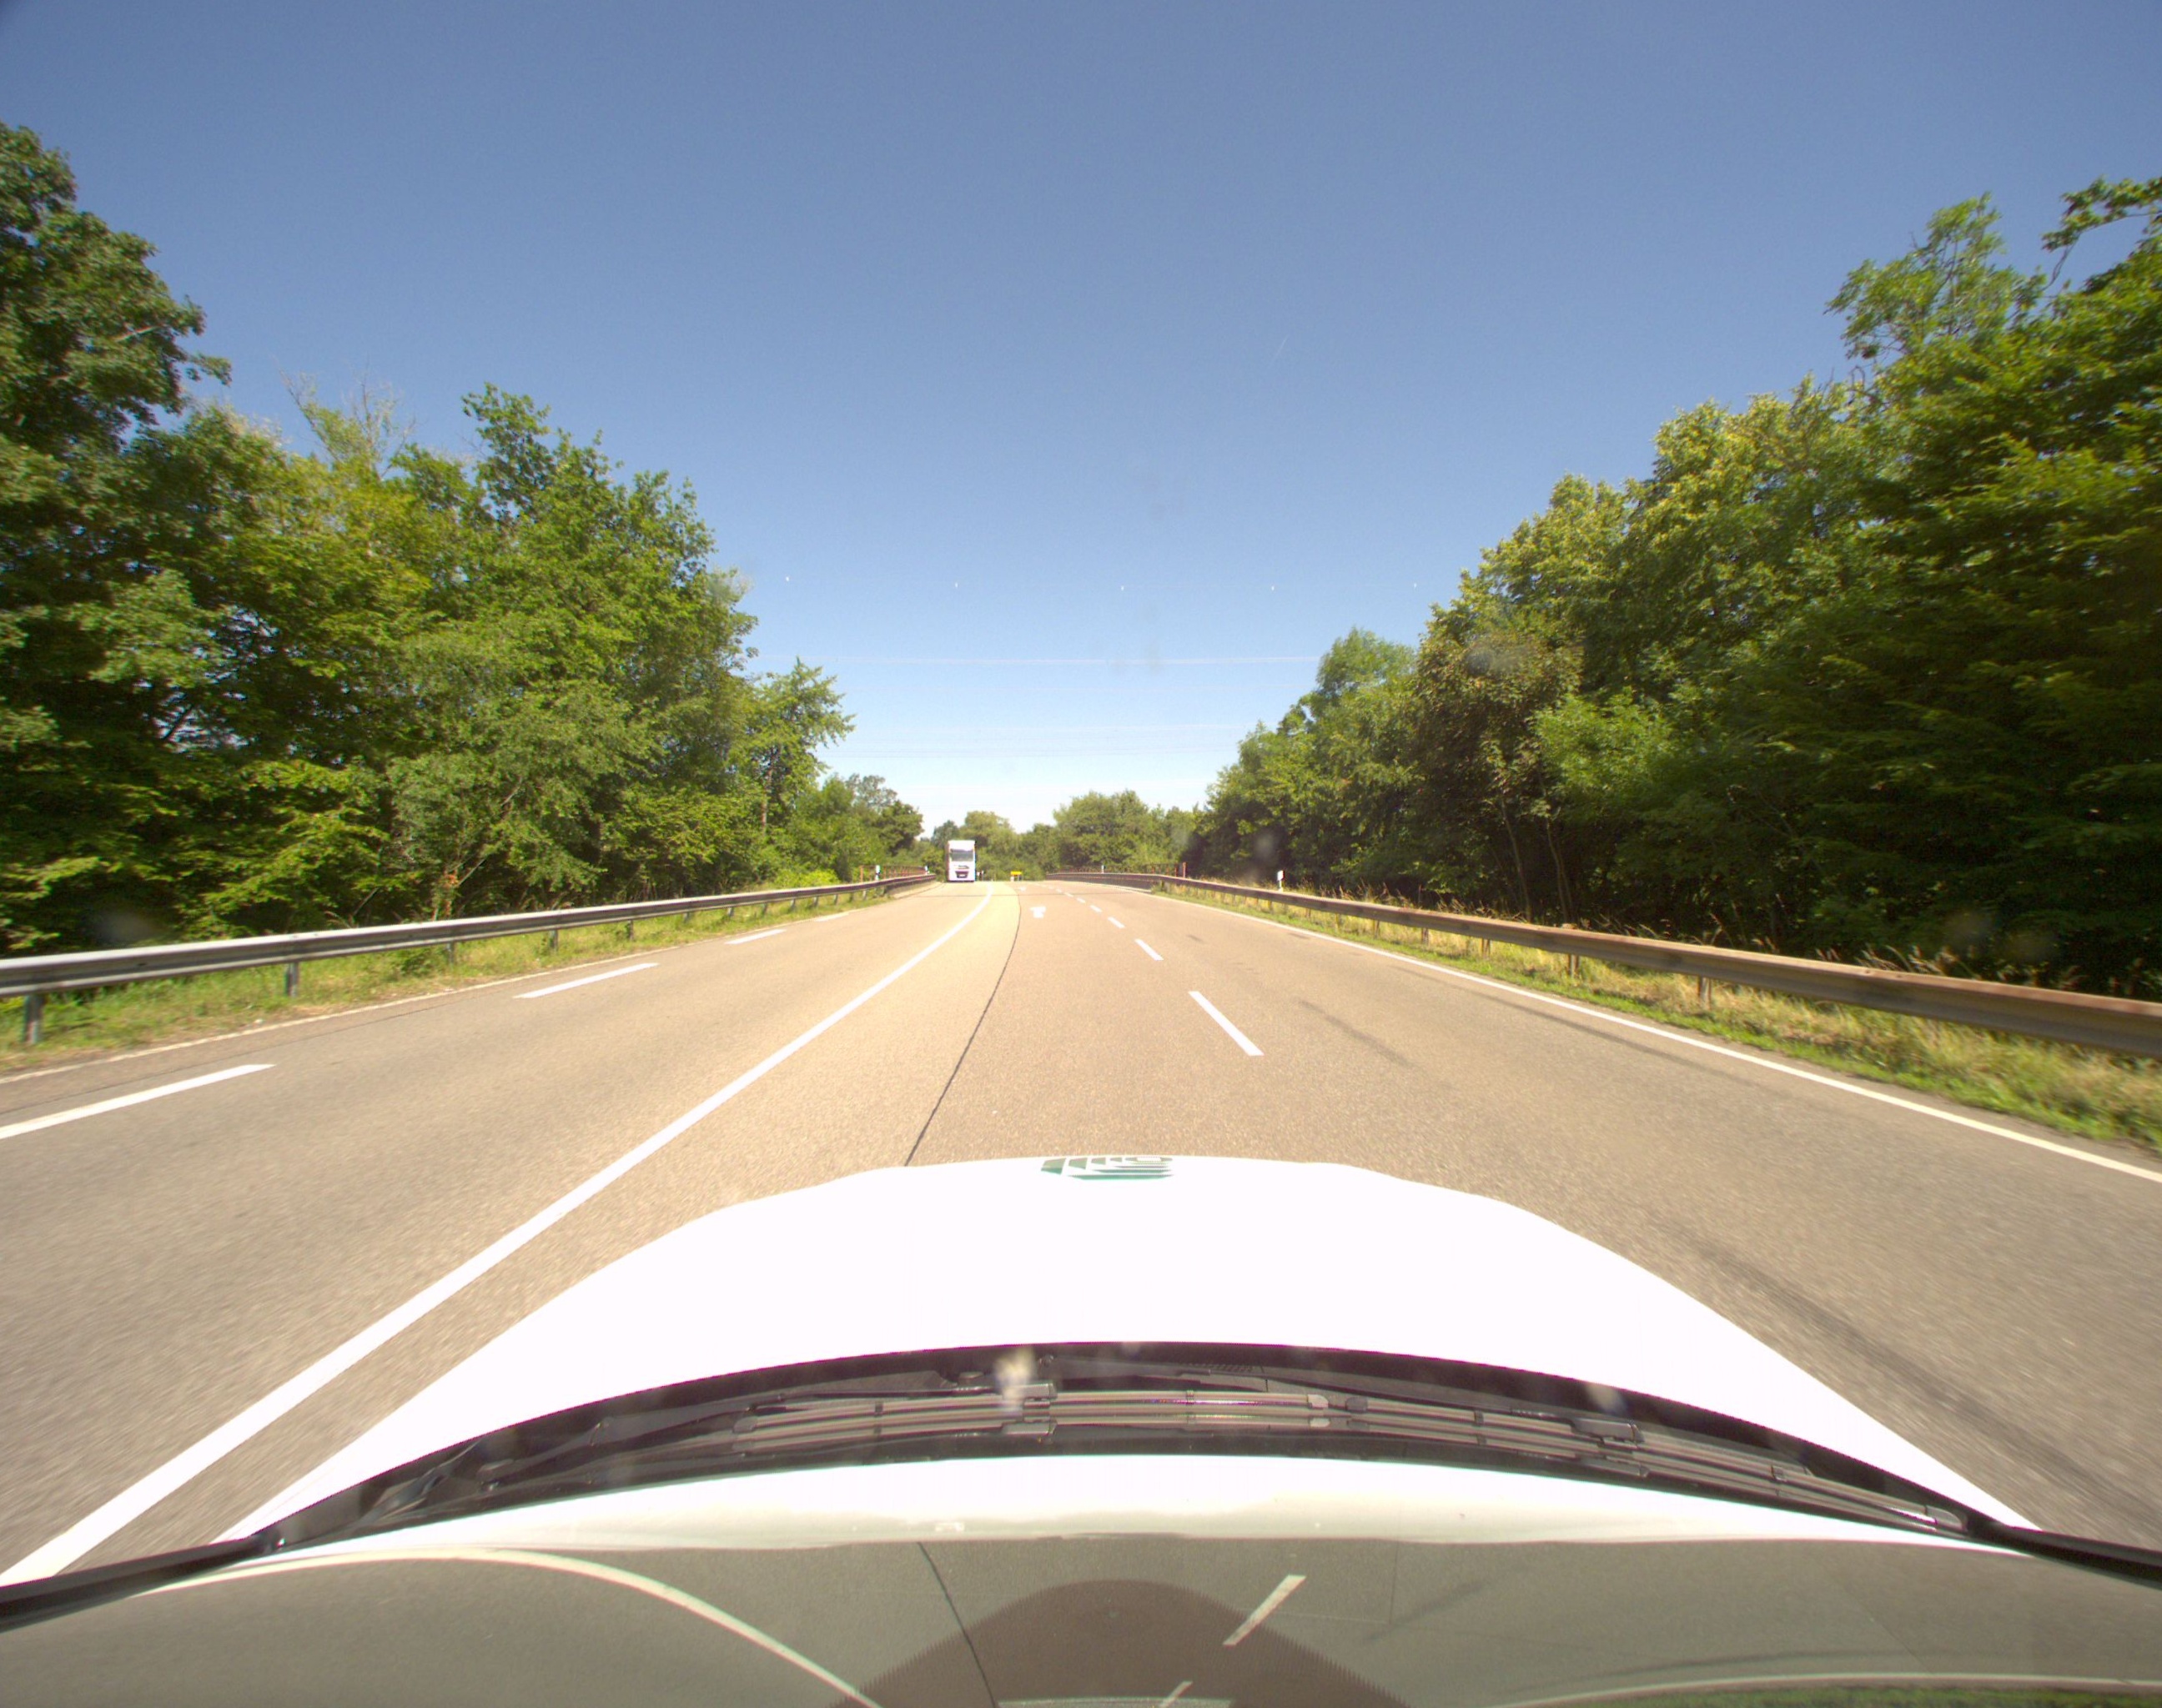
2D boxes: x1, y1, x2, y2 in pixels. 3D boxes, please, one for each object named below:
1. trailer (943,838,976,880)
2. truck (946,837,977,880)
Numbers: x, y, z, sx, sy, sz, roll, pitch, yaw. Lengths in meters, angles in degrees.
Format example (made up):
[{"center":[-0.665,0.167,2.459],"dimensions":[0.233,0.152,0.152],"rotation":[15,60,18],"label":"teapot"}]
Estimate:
[{"center":[-13.045,0.630,86.613],"dimensions":[2.770,4.062,14.142],"rotation":[-1,-1,-11],"label":"trailer"},{"center":[-11.642,0.489,79.521],"dimensions":[2.767,4.034,5.838],"rotation":[-1,-2,-8],"label":"truck"}]
